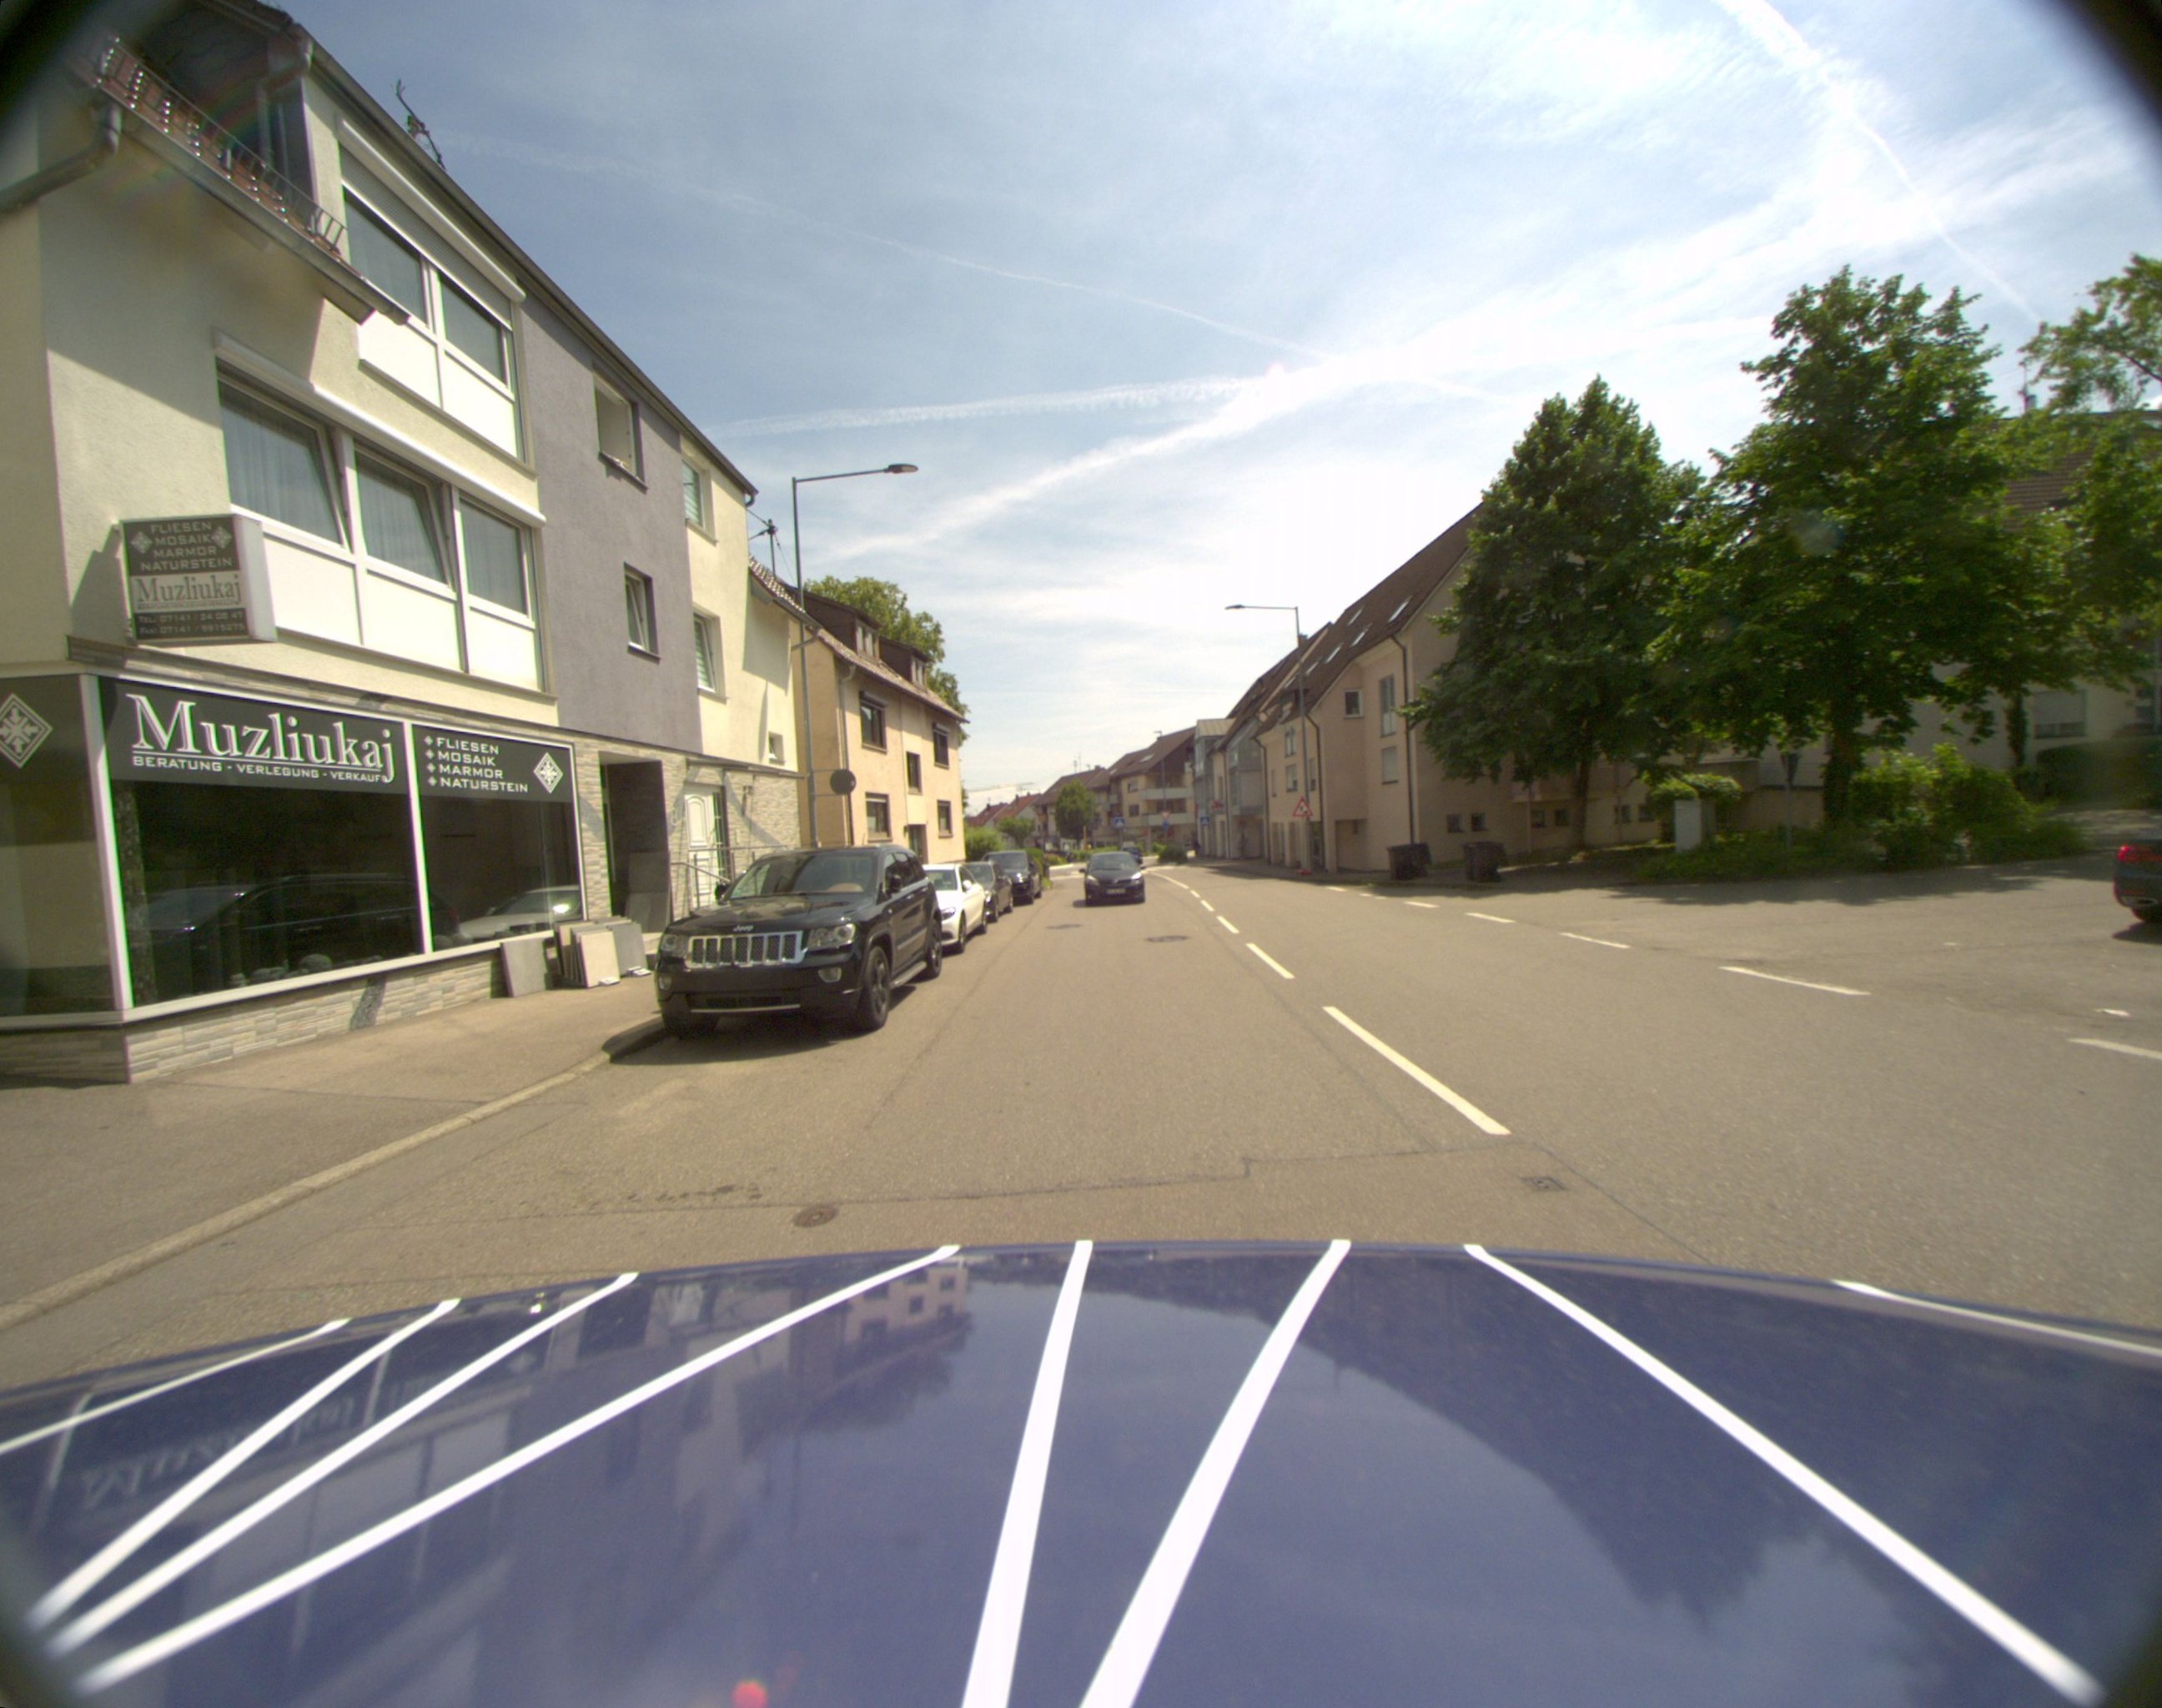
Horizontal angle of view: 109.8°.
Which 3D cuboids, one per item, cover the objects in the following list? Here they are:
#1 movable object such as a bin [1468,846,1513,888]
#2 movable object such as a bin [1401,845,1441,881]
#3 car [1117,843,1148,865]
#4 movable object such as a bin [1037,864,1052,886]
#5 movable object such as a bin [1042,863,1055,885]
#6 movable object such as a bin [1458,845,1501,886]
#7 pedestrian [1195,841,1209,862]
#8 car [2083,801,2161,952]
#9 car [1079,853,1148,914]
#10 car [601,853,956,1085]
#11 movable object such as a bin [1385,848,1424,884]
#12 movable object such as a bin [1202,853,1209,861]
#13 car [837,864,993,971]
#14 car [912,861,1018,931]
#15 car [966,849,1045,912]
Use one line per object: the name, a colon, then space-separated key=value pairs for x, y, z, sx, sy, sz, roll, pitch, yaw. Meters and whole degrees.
movable object such as a bin: x=10.758 y=0.340 z=19.976 sx=0.773 sy=0.995 sz=0.609 roll=-7 pitch=3 yaw=5
movable object such as a bin: x=10.310 y=0.267 z=23.050 sx=0.802 sy=0.994 sz=0.805 roll=-5 pitch=1 yaw=4
car: x=3.988 y=-0.037 z=59.570 sx=1.757 sy=1.575 sz=3.942 roll=-4 pitch=1 yaw=-5
movable object such as a bin: x=-1.677 y=0.959 z=34.987 sx=0.525 sy=0.987 sz=0.502 roll=-4 pitch=1 yaw=16
movable object such as a bin: x=-1.527 y=0.947 z=35.778 sx=0.501 sy=0.988 sz=0.503 roll=-4 pitch=1 yaw=-7
movable object such as a bin: x=10.806 y=0.310 z=20.621 sx=0.773 sy=0.995 sz=0.609 roll=-7 pitch=3 yaw=4
pedestrian: x=9.099 y=-0.185 z=57.172 sx=0.802 sy=1.470 sz=0.957 roll=-4 pitch=1 yaw=-1
car: x=13.689 y=0.023 z=8.156 sx=4.793 sy=1.471 sz=1.997 roll=-7 pitch=2 yaw=-17
car: x=0.875 y=0.762 z=21.938 sx=1.725 sy=1.448 sz=4.429 roll=-3 pitch=0 yaw=1
car: x=-2.763 y=0.906 z=8.339 sx=1.958 sy=1.706 sz=4.716 roll=-3 pitch=0 yaw=-1
movable object such as a bin: x=9.636 y=0.339 z=22.646 sx=0.853 sy=0.994 sz=0.694 roll=-4 pitch=1 yaw=4
movable object such as a bin: x=9.306 y=0.240 z=56.864 sx=0.459 sy=0.578 sz=0.468 roll=-4 pitch=1 yaw=0
car: x=-2.809 y=0.999 z=13.938 sx=1.793 sy=1.447 sz=4.716 roll=-3 pitch=0 yaw=-1
car: x=-2.777 y=0.961 z=19.199 sx=1.793 sy=1.412 sz=4.358 roll=-3 pitch=0 yaw=2
car: x=-2.346 y=0.781 z=24.738 sx=1.848 sy=1.660 sz=4.655 roll=-4 pitch=1 yaw=2
